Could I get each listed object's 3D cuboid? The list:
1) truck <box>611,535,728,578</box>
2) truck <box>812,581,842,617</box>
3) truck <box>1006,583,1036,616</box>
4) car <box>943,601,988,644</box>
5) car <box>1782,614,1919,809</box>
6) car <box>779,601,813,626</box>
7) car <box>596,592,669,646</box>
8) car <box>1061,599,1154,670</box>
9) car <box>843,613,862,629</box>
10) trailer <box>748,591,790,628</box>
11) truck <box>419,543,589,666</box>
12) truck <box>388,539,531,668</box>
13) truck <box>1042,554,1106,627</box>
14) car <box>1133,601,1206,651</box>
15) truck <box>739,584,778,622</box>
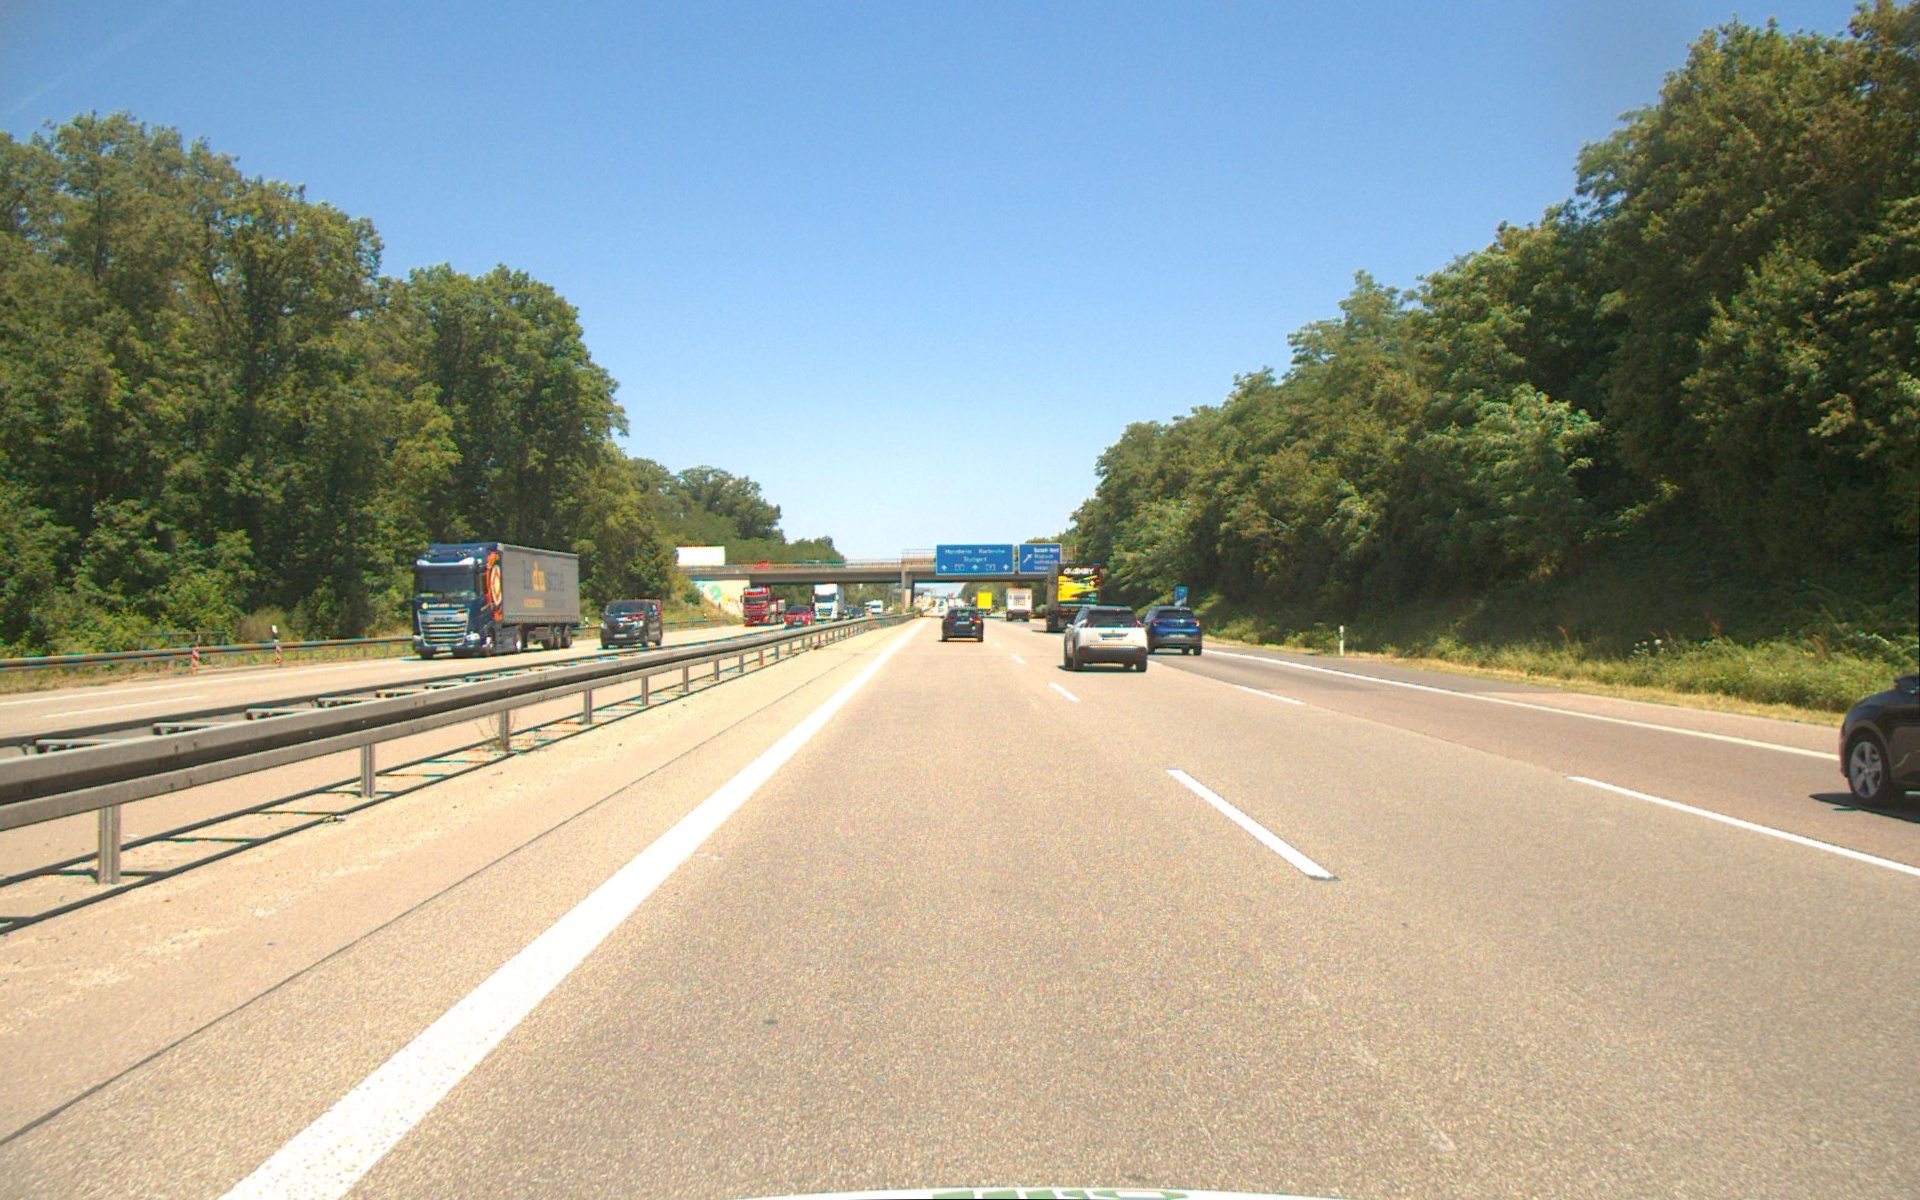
[{"bbox_3d":[-41.263,-6.163,235.197,16.152,5.663,3.169,1,-1,-8],"label":"truck"},{"bbox_3d":[-15.249,-0.068,189.807,2.925,4.089,6.040,1,-1,0],"label":"truck"},{"bbox_3d":[6.616,0.019,178.526,2.965,3.378,10.775,1,-1,4],"label":"truck"},{"bbox_3d":[0.208,0.936,69.937,1.790,1.736,3.999,1,-1,-1],"label":"car"},{"bbox_3d":[8.068,0.849,12.240,1.636,1.473,4.573,1,-1,-1],"label":"car"},{"bbox_3d":[-10.626,0.876,107.364,1.696,1.613,4.644,1,-1,0],"label":"car"},{"bbox_3d":[-13.484,0.789,68.392,1.953,2.049,5.358,-3,-1,-1],"label":"car"},{"bbox_3d":[3.563,0.815,40.702,1.790,1.636,4.807,0,-1,-1],"label":"car"},{"bbox_3d":[-11.848,2.304,182.181,1.770,1.619,4.668,1,-1,0],"label":"car"},{"bbox_3d":[-19.047,0.962,165.502,2.722,3.453,13.288,1,-1,0],"label":"trailer"},{"bbox_3d":[-18.183,0.224,67.279,3.256,4.418,13.907,1,-1,-1],"label":"truck"},{"bbox_3d":[-18.110,0.160,60.322,3.256,4.418,6.611,1,-1,-1],"label":"truck"},{"bbox_3d":[6.843,-0.520,100.646,2.914,4.107,10.979,2,-1,-1],"label":"truck"},{"bbox_3d":[6.902,0.849,54.773,1.832,1.583,4.200,1,-1,-1],"label":"car"},{"bbox_3d":[-19.059,0.326,156.857,2.693,3.453,7.660,1,-1,0],"label":"truck"}]
